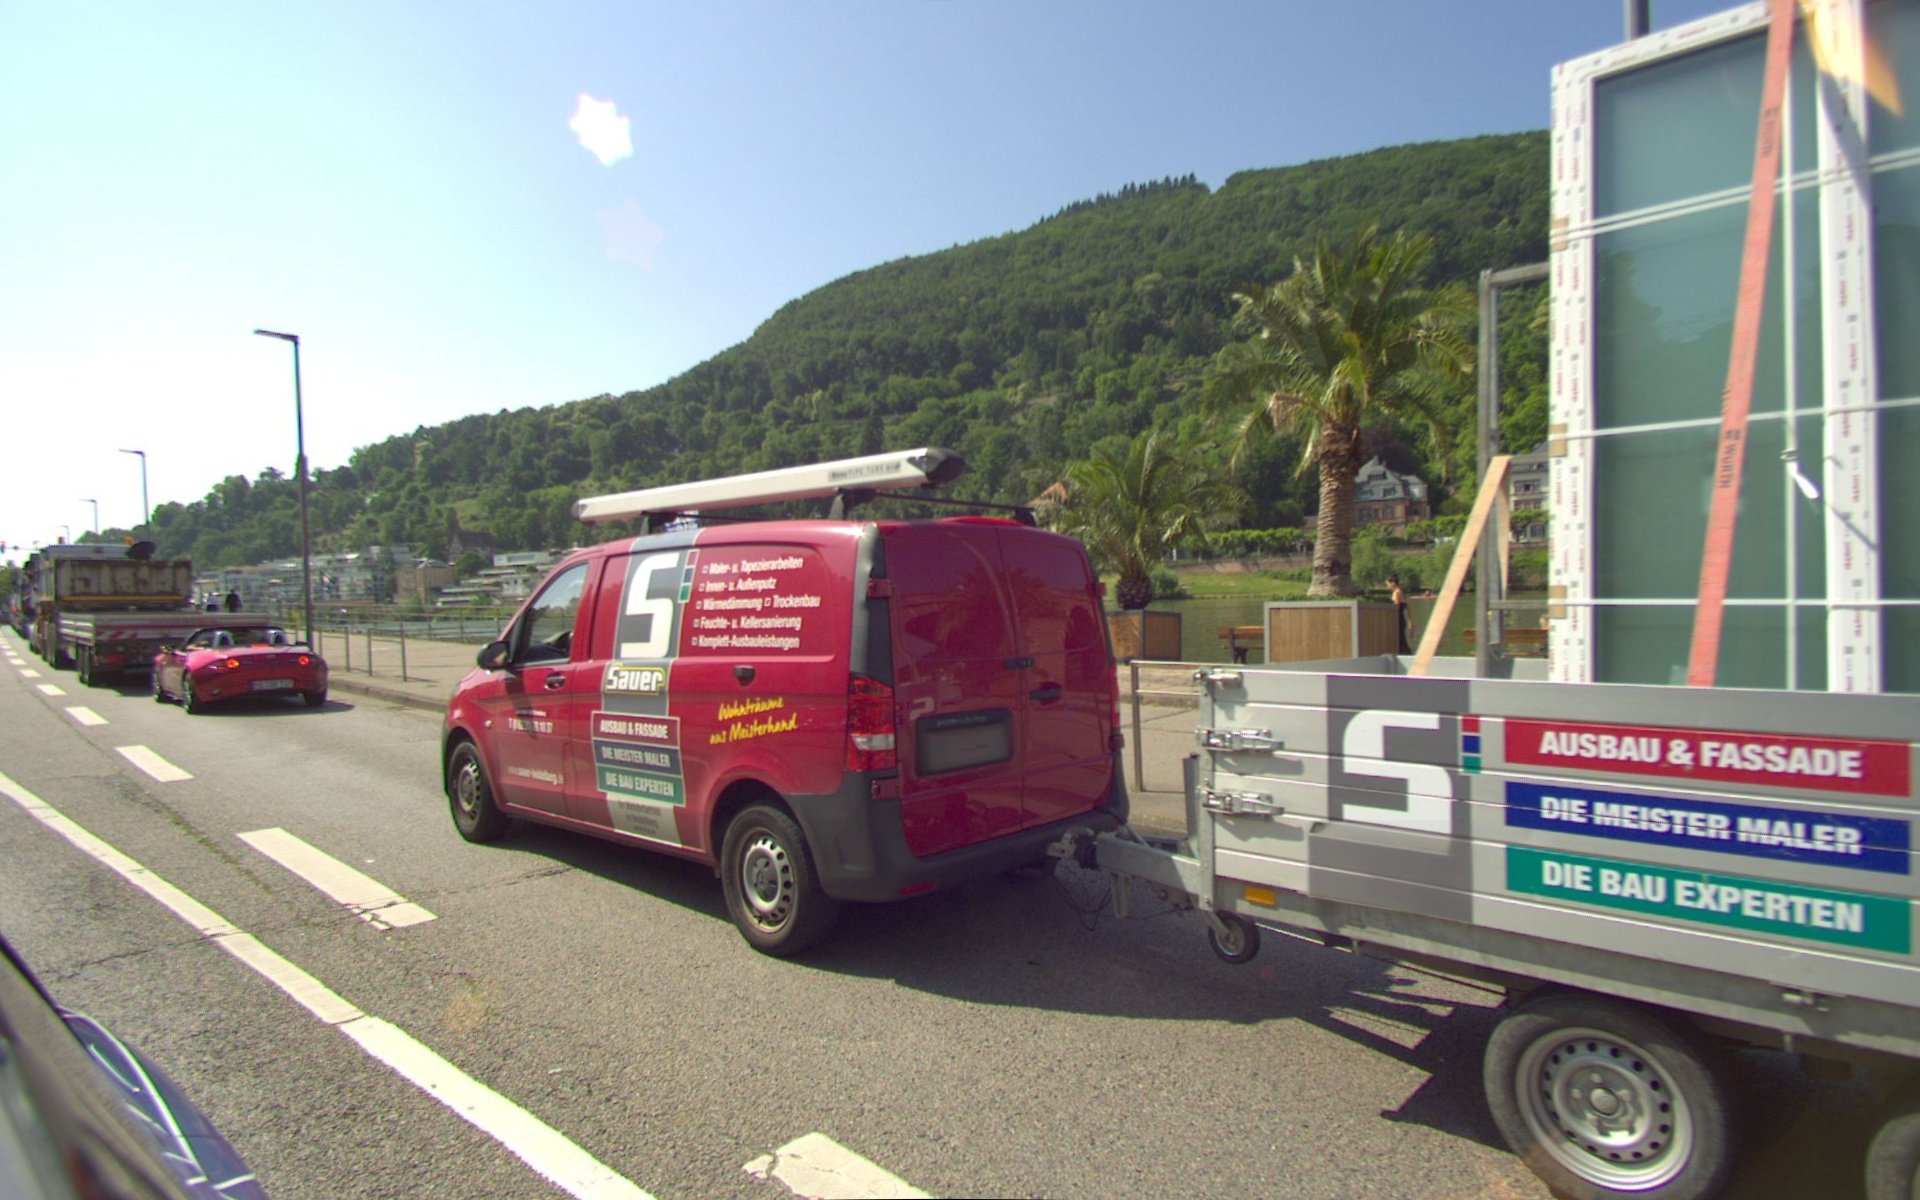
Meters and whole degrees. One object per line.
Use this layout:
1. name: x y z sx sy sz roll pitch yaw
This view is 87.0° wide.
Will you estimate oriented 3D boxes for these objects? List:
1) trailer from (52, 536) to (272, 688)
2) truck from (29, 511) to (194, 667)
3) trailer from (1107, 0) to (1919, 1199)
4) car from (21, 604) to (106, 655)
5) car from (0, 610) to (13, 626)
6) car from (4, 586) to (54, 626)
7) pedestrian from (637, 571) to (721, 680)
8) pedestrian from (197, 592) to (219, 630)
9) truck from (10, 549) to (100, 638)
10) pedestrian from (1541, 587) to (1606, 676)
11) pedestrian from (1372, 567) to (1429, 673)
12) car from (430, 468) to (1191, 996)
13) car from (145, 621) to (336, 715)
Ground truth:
1. trailer: -16.215 0.184 20.352 6.951 2.550 2.667 0 0 45
2. truck: -22.273 -0.252 26.384 7.875 3.483 2.612 0 0 45
3. trailer: 2.280 -0.407 2.610 3.384 3.345 1.723 -1 -1 43
4. car: -28.250 0.875 31.861 3.999 1.454 1.757 0 1 45
5. car: -92.305 1.757 97.007 4.263 1.463 1.971 -1 2 44
6. car: -61.604 0.428 66.927 2.169 2.545 4.751 2 -2 -45
7. pedestrian: -4.623 0.401 16.637 1.151 1.713 0.807 0 2 43
8. pedestrian: -34.948 0.523 47.039 0.703 1.719 0.846 -2 1 -43
9. truck: -40.268 -0.240 44.862 2.611 3.502 11.116 -1 1 -44
10. pedestrian: 8.275 0.414 13.647 0.930 1.154 0.508 1 -2 -44
11. pedestrian: 6.919 0.303 15.930 0.587 1.613 0.679 -2 1 5
12. car: -1.177 0.491 5.770 4.543 1.841 1.854 -1 -1 43
13. car: -11.041 0.951 15.442 3.628 1.203 1.653 0 0 42
